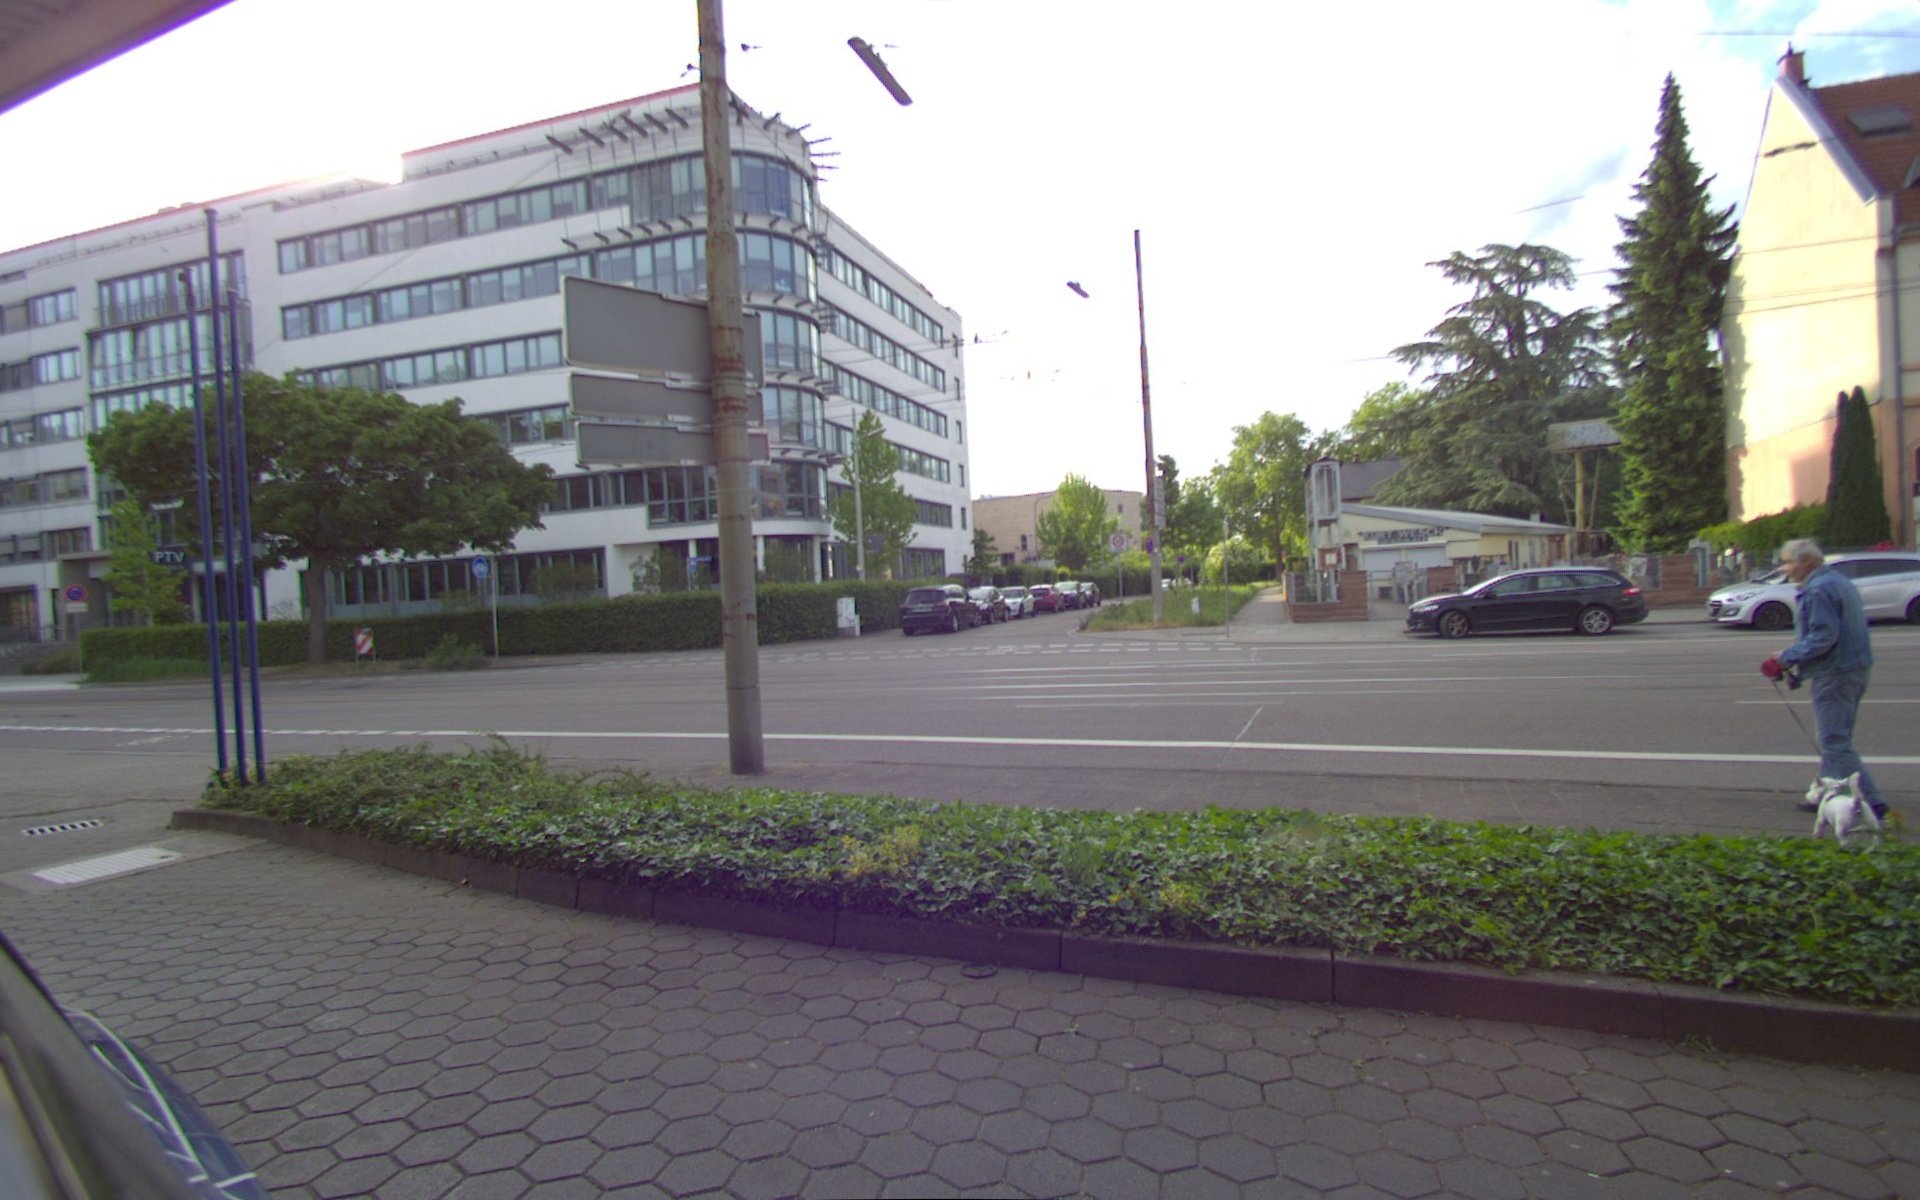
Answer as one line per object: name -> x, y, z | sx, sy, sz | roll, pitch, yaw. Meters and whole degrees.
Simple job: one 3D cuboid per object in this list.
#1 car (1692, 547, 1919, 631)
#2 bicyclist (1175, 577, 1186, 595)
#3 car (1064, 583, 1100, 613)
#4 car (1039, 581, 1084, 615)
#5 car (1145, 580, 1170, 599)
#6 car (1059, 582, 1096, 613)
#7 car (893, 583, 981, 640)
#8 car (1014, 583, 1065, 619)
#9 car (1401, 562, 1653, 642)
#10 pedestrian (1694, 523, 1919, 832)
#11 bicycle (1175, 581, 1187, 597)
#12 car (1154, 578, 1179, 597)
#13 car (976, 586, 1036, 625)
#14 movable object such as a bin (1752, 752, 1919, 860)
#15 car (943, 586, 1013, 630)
car -> 18.425, -0.249, 21.386 | 4.424, 1.494, 1.713 | -3, 1, 21
bicyclist -> 21.003, -1.346, 96.197 | 0.859, 1.617, 1.023 | -2, 3, 18
car -> 8.087, -0.171, 66.759 | 1.845, 1.748, 4.256 | -3, 0, 13
car -> 5.832, -0.150, 57.724 | 1.929, 1.748, 4.512 | -3, 0, 13
car -> 19.688, -1.083, 100.797 | 1.849, 1.748, 4.247 | -3, 0, 19
car -> 7.285, -0.160, 62.498 | 1.731, 1.748, 4.030 | -3, 0, 13
car -> -0.725, 0.359, 35.417 | 1.994, 1.704, 4.274 | -3, 1, 13
car -> 4.173, 0.022, 52.494 | 1.929, 1.650, 4.274 | -3, 0, 13
car -> 12.914, 0.051, 23.447 | 4.742, 1.511, 2.001 | -3, 1, 21
pedestrian -> 5.293, 0.416, 6.071 | 0.989, 1.680, 0.972 | -2, 0, -3
bicycle -> 21.045, -1.063, 96.293 | 0.859, 1.320, 1.909 | -2, 3, 18
car -> 21.679, -1.333, 106.167 | 1.849, 1.748, 4.246 | -3, 0, 19
car -> 2.141, 0.213, 45.788 | 1.929, 1.530, 4.274 | -3, 0, 13
movable object such as a bin -> 4.809, 1.098, 5.478 | 0.474, 0.424, 0.680 | -2, 0, -3
car -> 0.793, 0.290, 40.977 | 1.929, 1.551, 4.274 | -3, 0, 13
